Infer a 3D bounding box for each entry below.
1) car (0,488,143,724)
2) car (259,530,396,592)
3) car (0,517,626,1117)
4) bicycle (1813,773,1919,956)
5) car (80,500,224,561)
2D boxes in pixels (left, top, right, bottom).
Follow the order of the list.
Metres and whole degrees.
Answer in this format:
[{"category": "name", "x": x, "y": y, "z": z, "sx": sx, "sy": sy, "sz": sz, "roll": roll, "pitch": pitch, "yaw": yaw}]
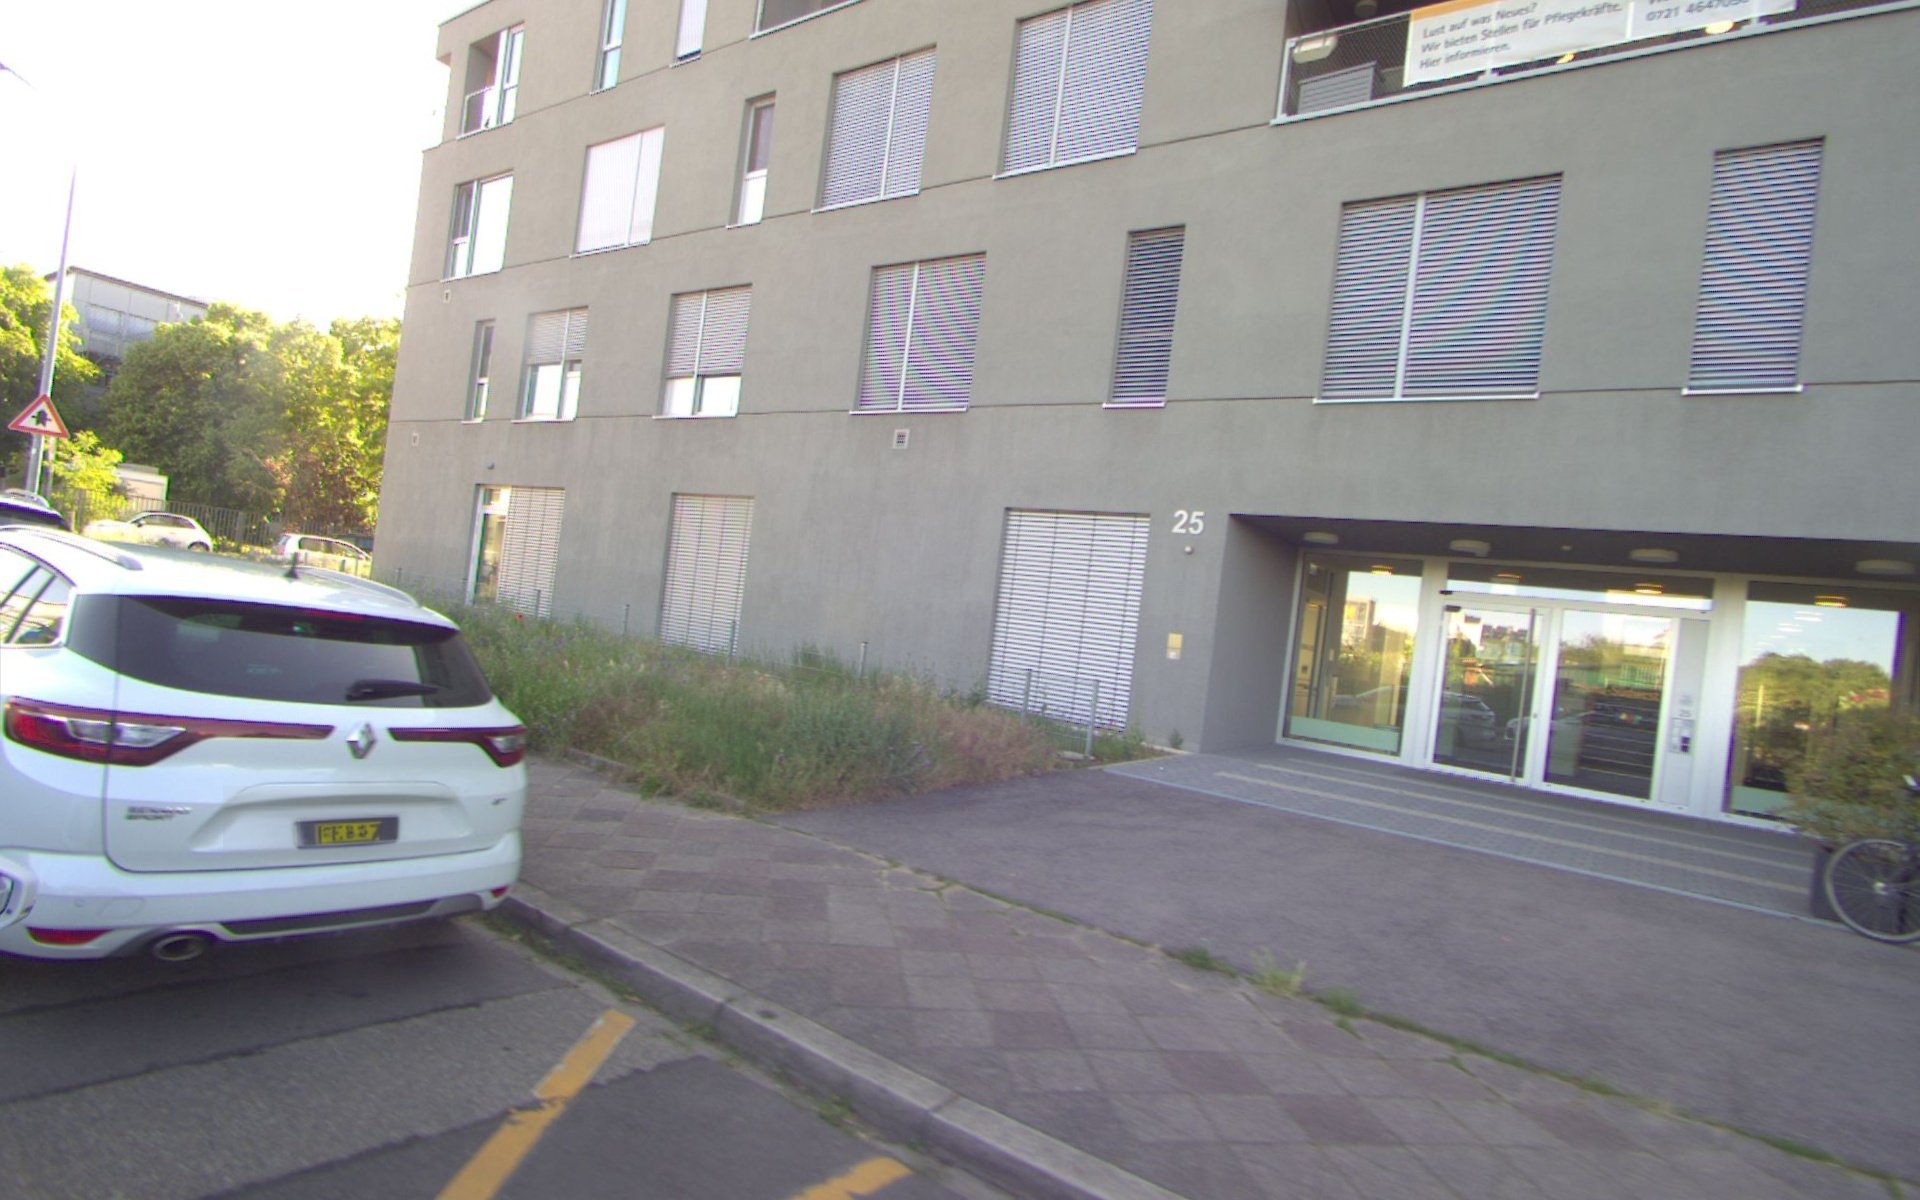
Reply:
[{"category": "car", "x": -8.631, "y": -0.193, "z": 8.130, "sx": 4.554, "sy": 1.617, "sz": 1.820, "roll": 7, "pitch": -3, "yaw": 35}, {"category": "car", "x": -20.468, "y": -1.236, "z": 32.633, "sx": 1.690, "sy": 1.475, "sz": 3.324, "roll": 7, "pitch": -1, "yaw": 40}, {"category": "car", "x": -3.673, "y": 0.462, "z": 4.455, "sx": 4.515, "sy": 1.445, "sz": 1.747, "roll": 6, "pitch": -3, "yaw": 36}, {"category": "bicycle", "x": 6.686, "y": 1.813, "z": 6.402, "sx": 1.815, "sy": 1.073, "sz": 0.552, "roll": 6, "pitch": -1, "yaw": 40}, {"category": "car", "x": -28.064, "y": -2.388, "z": 35.022, "sx": 1.576, "sy": 1.503, "sz": 3.548, "roll": 7, "pitch": -1, "yaw": 36}]
